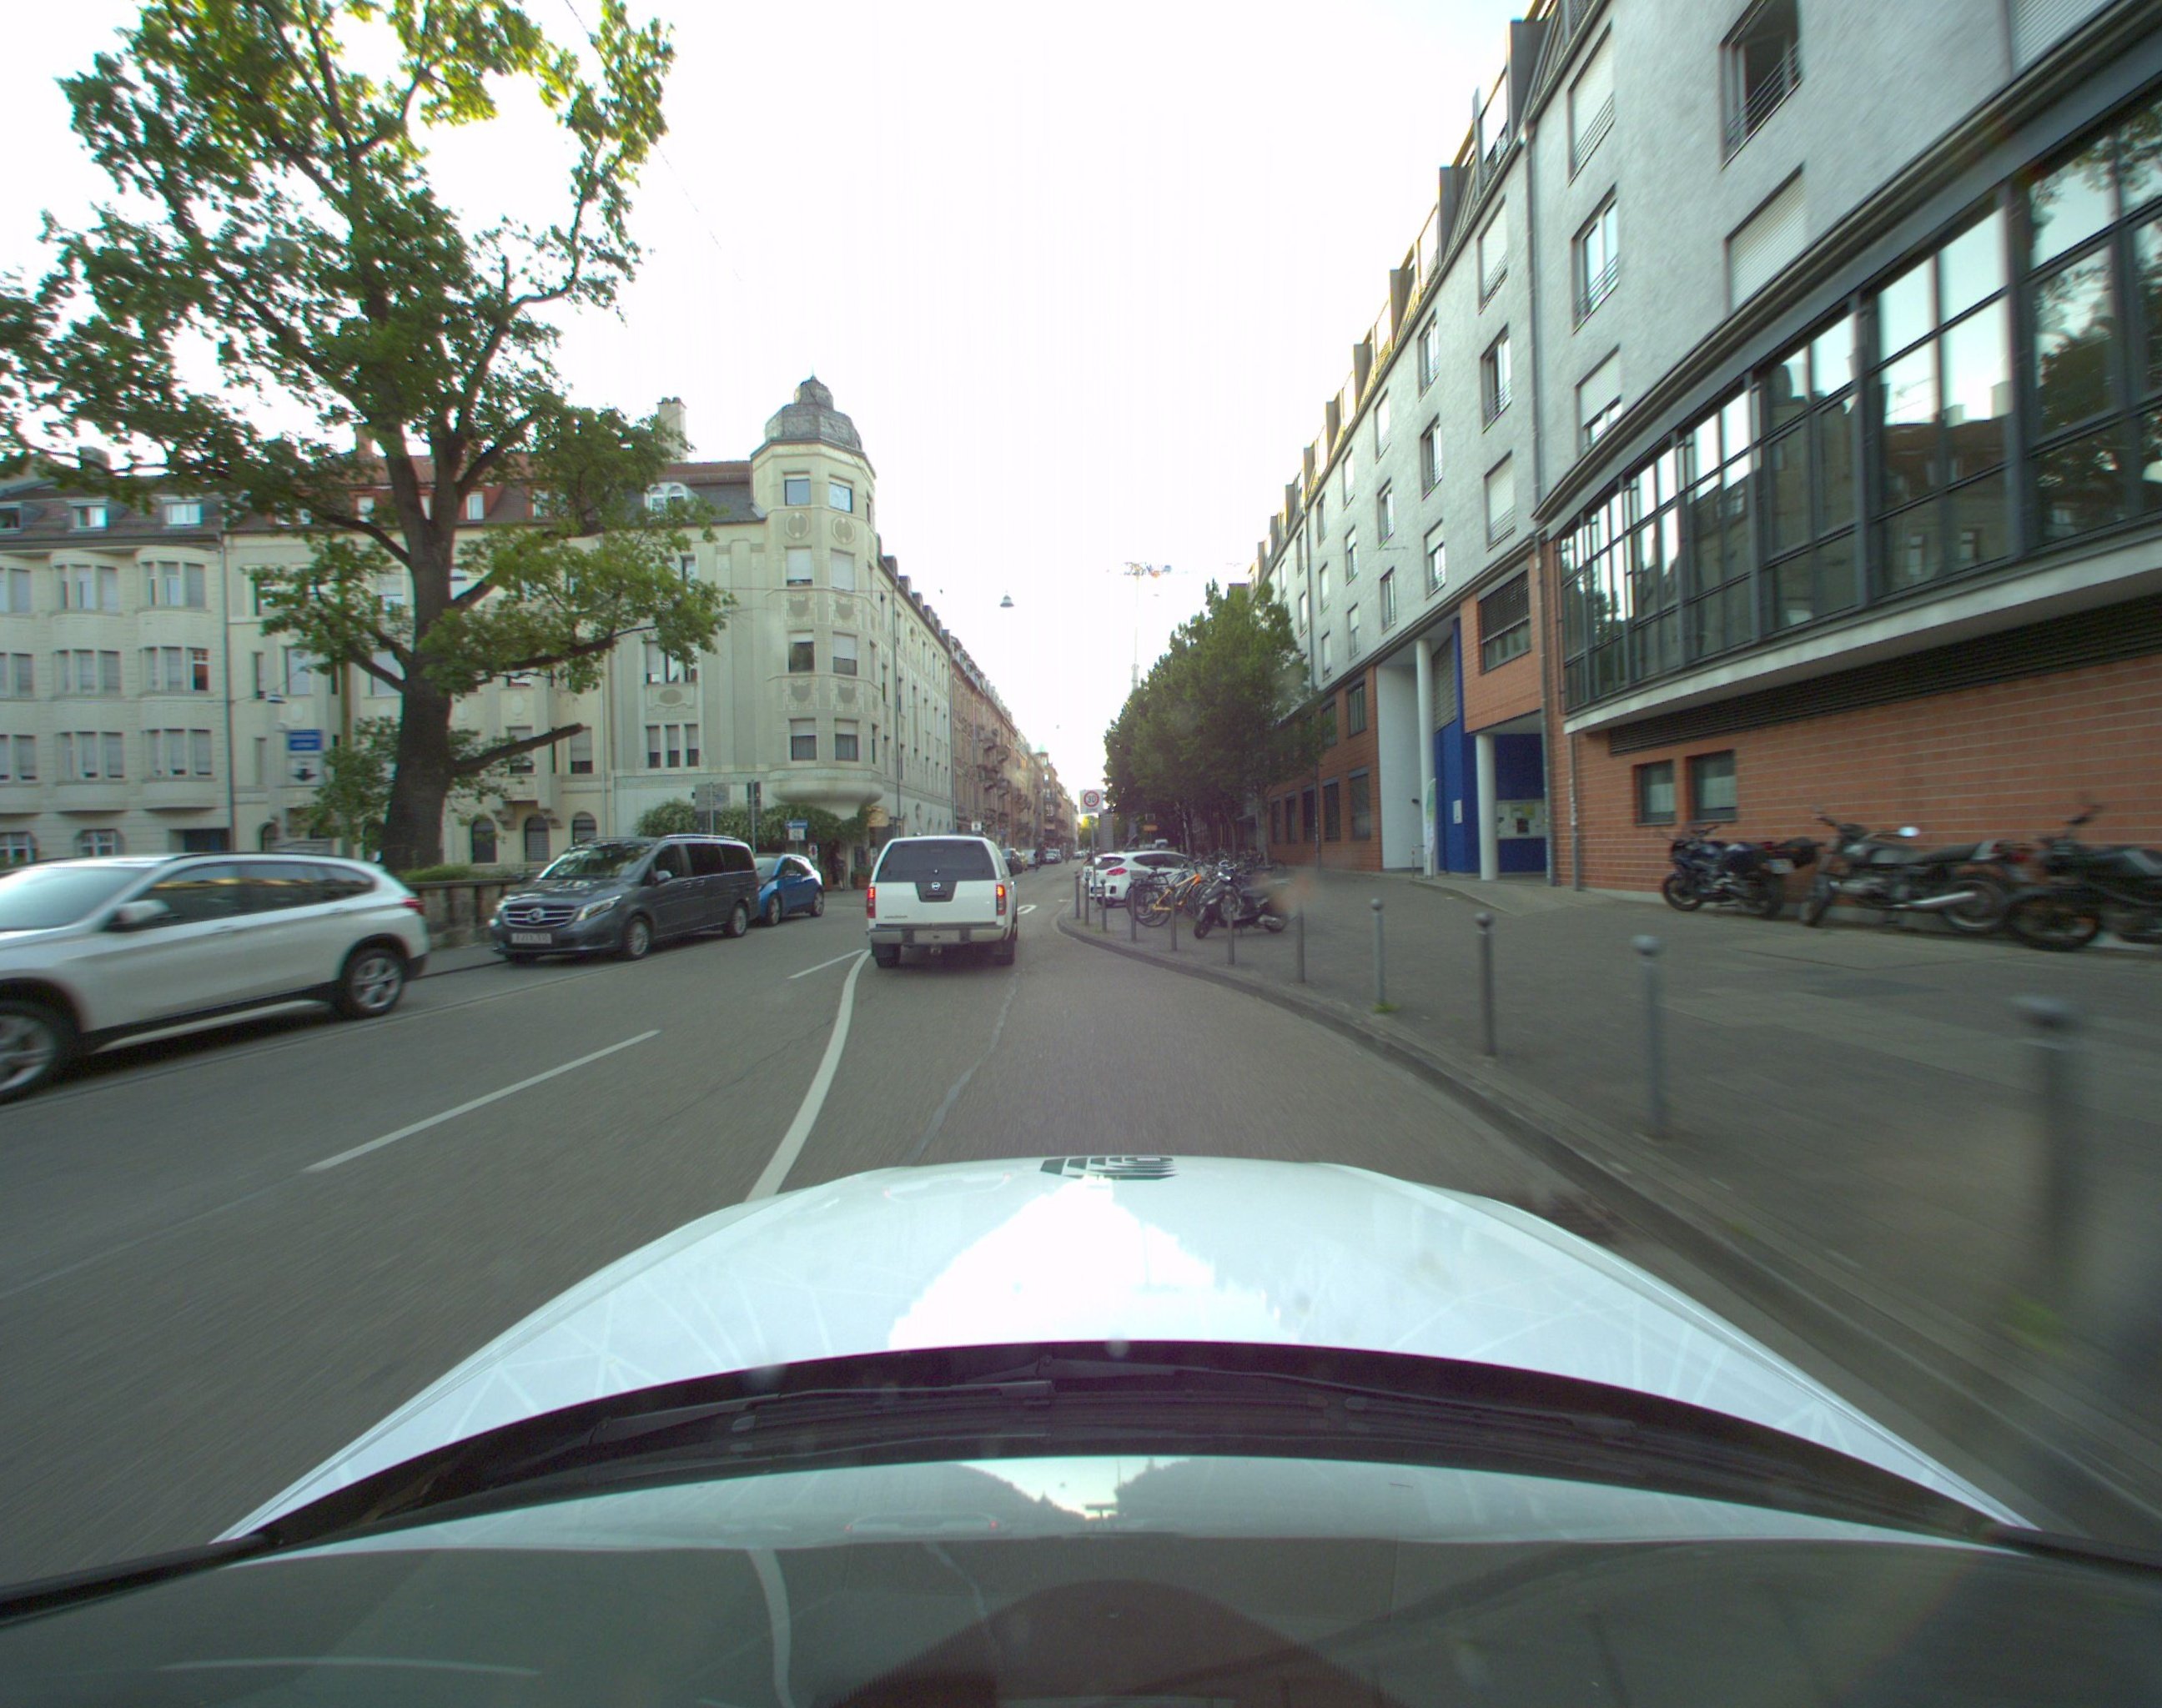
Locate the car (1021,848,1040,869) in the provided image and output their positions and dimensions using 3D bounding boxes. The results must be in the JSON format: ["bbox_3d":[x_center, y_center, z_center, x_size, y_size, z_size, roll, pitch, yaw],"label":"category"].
[{"bbox_3d":[-4.850,0.430,78.768,1.553,1.921,3.857,0,0,1],"label":"car"}]

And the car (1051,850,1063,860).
[{"bbox_3d":[-3.852,0.120,131.389,1.841,1.552,4.354,-1,0,-1],"label":"car"}]

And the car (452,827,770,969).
[{"bbox_3d":[-7.349,0.579,13.617,1.985,1.866,5.294,-1,0,3],"label":"car"}]

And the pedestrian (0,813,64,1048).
[{"bbox_3d":[-9.057,0.627,6.594,0.580,1.905,0.802,-2,0,-2],"label":"pedestrian"}]

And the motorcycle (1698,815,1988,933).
[{"bbox_3d":[8.569,0.206,9.369,0.775,1.139,2.407,-3,0,-11],"label":"motorcycle"}]

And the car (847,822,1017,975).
[{"bbox_3d":[-1.982,0.544,12.175,1.929,1.794,4.615,-1,0,-4],"label":"car"}]

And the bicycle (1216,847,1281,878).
[{"bbox_3d":[6.798,0.348,33.189,2.523,1.166,0.562,-2,0,3],"label":"bicycle"}]

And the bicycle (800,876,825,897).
[{"bbox_3d":[-10.527,1.269,31.984,0.422,0.695,1.779,-2,2,-1],"label":"bicycle"}]

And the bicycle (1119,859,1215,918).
[{"bbox_3d":[1.744,0.691,16.599,1.852,1.066,0.445,-4,0,0],"label":"bicycle"}]

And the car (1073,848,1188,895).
[{"bbox_3d":[1.854,0.594,30.205,4.011,1.537,1.620,-2,1,-29],"label":"car"}]

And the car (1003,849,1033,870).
[{"bbox_3d":[-5.165,0.413,67.164,1.986,1.652,4.001,-1,0,1],"label":"car"}]

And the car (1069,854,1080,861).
[{"bbox_3d":[-1.333,0.757,175.921,1.838,1.552,4.361,-1,0,5],"label":"car"}]

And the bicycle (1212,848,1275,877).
[{"bbox_3d":[6.838,0.355,34.376,2.523,1.166,0.562,-2,0,3],"label":"bicycle"}]

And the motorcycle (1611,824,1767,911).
[{"bbox_3d":[8.698,0.173,11.781,0.586,1.103,2.083,-5,0,-1],"label":"motorcycle"}]

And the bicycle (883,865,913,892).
[{"bbox_3d":[-7.480,1.003,33.395,0.420,1.012,1.726,-1,1,15],"label":"bicycle"}]

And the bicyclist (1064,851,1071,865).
[{"bbox_3d":[-1.769,0.522,107.949,0.798,1.849,0.943,-1,0,-1],"label":"bicyclist"}]

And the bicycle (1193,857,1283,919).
[{"bbox_3d":[2.915,0.633,15.176,1.535,1.038,0.472,-4,0,0],"label":"bicycle"}]

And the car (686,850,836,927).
[{"bbox_3d":[-7.272,0.713,18.968,1.633,1.555,4.008,-1,0,4],"label":"car"}]

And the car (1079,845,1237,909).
[{"bbox_3d":[2.139,0.585,22.433,4.010,1.506,1.754,-2,0,-28],"label":"car"}]

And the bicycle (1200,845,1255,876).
[{"bbox_3d":[6.967,0.296,38.822,2.523,1.379,0.600,-2,0,3],"label":"bicycle"}]

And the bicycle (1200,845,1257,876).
[{"bbox_3d":[6.900,0.301,38.096,2.523,1.379,0.600,-2,0,3],"label":"bicycle"}]

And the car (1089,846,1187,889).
[{"bbox_3d":[2.318,0.513,33.064,3.618,1.580,1.699,-2,0,-32],"label":"car"}]

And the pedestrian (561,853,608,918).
[{"bbox_3d":[-13.476,0.835,22.139,0.704,1.721,0.837,-2,0,0],"label":"pedestrian"}]

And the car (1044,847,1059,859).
[{"bbox_3d":[-4.107,-0.157,113.525,1.703,1.530,4.001,-1,0,2],"label":"car"}]

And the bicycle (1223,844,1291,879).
[{"bbox_3d":[6.614,0.277,30.666,2.336,1.099,0.681,-5,0,3],"label":"bicycle"}]

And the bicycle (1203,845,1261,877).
[{"bbox_3d":[6.904,0.301,37.382,2.523,1.379,0.600,-2,0,3],"label":"bicycle"}]

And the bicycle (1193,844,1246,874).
[{"bbox_3d":[7.088,0.270,41.690,2.523,1.244,0.600,-7,-1,3],"label":"bicycle"}]

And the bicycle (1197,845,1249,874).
[{"bbox_3d":[7.125,0.268,40.920,2.523,1.379,0.600,-2,0,3],"label":"bicycle"}]

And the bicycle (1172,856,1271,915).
[{"bbox_3d":[2.778,0.621,16.171,1.852,1.038,0.402,-4,0,-1],"label":"bicycle"}]

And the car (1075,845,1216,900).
[{"bbox_3d":[2.043,0.559,25.382,4.014,1.473,1.857,-2,-1,-32],"label":"car"}]

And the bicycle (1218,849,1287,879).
[{"bbox_3d":[6.704,0.388,31.873,2.523,0.959,0.681,-5,0,3],"label":"bicycle"}]

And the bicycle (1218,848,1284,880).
[{"bbox_3d":[6.786,0.401,32.581,2.523,1.166,0.562,-2,0,3],"label":"bicycle"}]

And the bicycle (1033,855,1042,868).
[{"bbox_3d":[-3.607,0.619,67.652,0.612,1.040,1.904,-2,0,2],"label":"bicycle"}]

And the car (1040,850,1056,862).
[{"bbox_3d":[-4.372,0.317,107.844,1.784,1.530,4.002,-1,0,2],"label":"car"}]

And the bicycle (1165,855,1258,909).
[{"bbox_3d":[2.870,0.606,17.973,1.905,1.066,0.524,-4,0,0],"label":"bicycle"}]

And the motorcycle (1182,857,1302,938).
[{"bbox_3d":[2.492,0.653,12.679,1.643,1.101,0.645,-4,0,-8],"label":"motorcycle"}]

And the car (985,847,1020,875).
[{"bbox_3d":[-5.672,0.481,59.338,1.897,1.925,4.950,-1,0,2],"label":"car"}]

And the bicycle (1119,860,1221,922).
[{"bbox_3d":[1.705,0.702,15.669,1.852,1.038,0.472,-4,0,0],"label":"bicycle"}]

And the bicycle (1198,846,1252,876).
[{"bbox_3d":[6.992,0.322,39.561,2.523,1.379,0.600,-2,0,3],"label":"bicycle"}]

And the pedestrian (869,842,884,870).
[{"bbox_3d":[-10.229,0.101,40.727,0.536,1.350,0.519,-1,0,2],"label":"pedestrian"}]

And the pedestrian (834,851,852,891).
[{"bbox_3d":[-10.126,0.725,34.724,0.565,1.675,0.615,-2,0,-4],"label":"pedestrian"}]

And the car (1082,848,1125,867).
[{"bbox_3d":[2.314,0.358,82.809,4.173,1.780,1.823,-1,0,7],"label":"car"}]

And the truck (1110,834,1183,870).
[{"bbox_3d":[5.717,-0.171,71.815,6.294,2.977,2.265,-1,-3,3],"label":"truck"}]

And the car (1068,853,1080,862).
[{"bbox_3d":[-1.387,0.707,160.890,1.838,1.552,4.360,-1,0,4],"label":"car"}]

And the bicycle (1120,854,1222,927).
[{"bbox_3d":[1.602,0.637,14.607,1.702,1.176,0.472,-4,0,0],"label":"bicycle"}]

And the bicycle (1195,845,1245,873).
[{"bbox_3d":[7.317,0.270,43.059,2.523,1.379,0.600,-2,0,3],"label":"bicycle"}]

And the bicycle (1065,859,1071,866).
[{"bbox_3d":[-1.749,1.103,108.017,0.798,0.947,2.004,-1,0,0],"label":"bicycle"}]

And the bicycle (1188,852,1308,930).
[{"bbox_3d":[2.826,0.609,13.904,1.852,1.146,0.659,-5,0,1],"label":"bicycle"}]

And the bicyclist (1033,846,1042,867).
[{"bbox_3d":[-3.621,0.179,67.605,0.600,1.684,1.143,-2,0,2],"label":"bicyclist"}]

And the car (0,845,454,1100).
[{"bbox_3d":[-7.699,0.766,6.498,1.865,1.592,4.468,-2,0,0],"label":"car"}]

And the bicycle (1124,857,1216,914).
[{"bbox_3d":[1.878,0.663,17.274,1.852,1.066,0.445,-4,0,0],"label":"bicycle"}]

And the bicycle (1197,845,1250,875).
[{"bbox_3d":[7.032,0.279,40.258,2.523,1.379,0.600,-2,0,3],"label":"bicycle"}]

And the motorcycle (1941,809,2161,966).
[{"bbox_3d":[8.369,0.231,6.312,0.797,1.139,2.441,-4,0,1],"label":"motorcycle"}]

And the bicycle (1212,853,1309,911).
[{"bbox_3d":[3.729,0.570,16.956,1.852,1.066,0.524,-4,0,0],"label":"bicycle"}]

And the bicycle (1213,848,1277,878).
[{"bbox_3d":[6.805,0.361,33.766,2.523,1.166,0.562,-2,0,3],"label":"bicycle"}]
